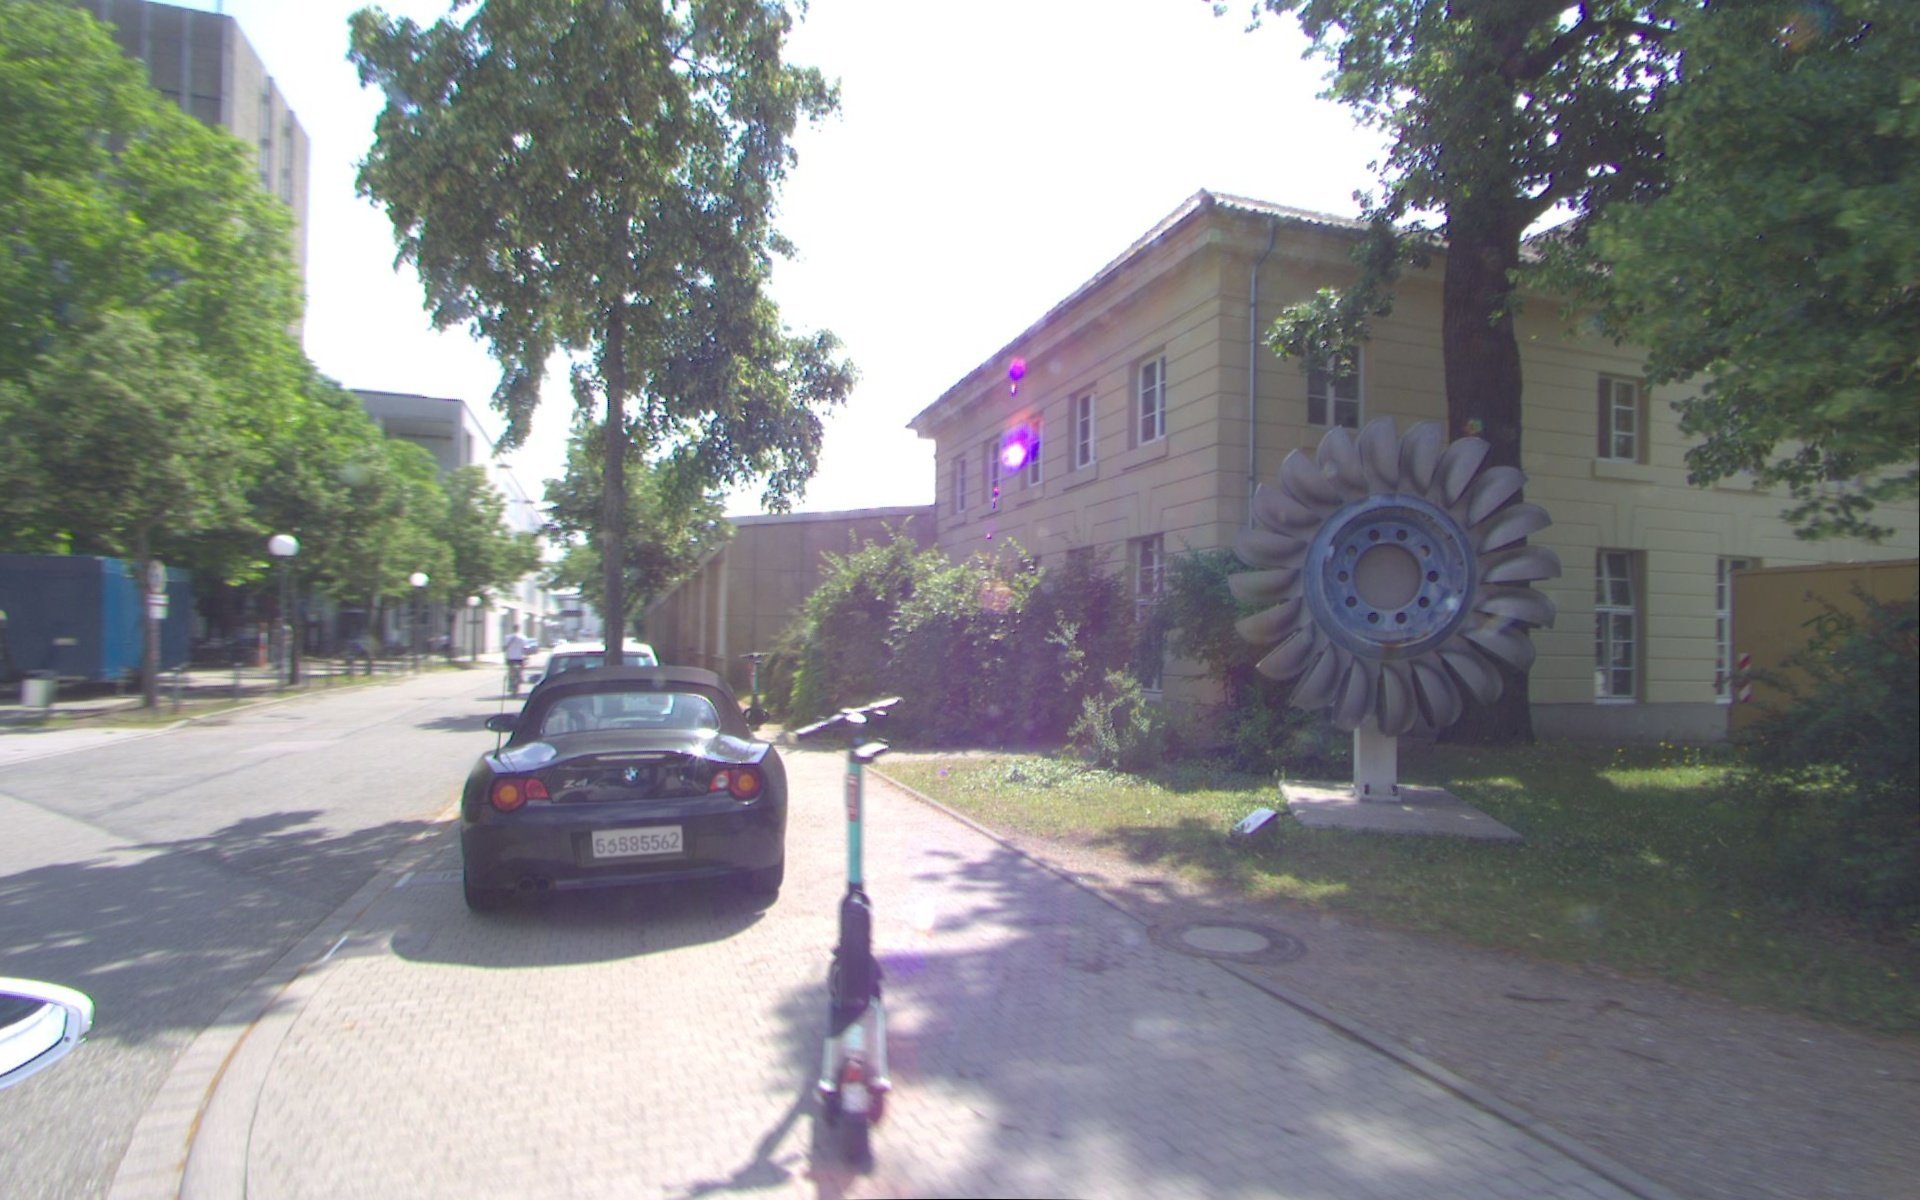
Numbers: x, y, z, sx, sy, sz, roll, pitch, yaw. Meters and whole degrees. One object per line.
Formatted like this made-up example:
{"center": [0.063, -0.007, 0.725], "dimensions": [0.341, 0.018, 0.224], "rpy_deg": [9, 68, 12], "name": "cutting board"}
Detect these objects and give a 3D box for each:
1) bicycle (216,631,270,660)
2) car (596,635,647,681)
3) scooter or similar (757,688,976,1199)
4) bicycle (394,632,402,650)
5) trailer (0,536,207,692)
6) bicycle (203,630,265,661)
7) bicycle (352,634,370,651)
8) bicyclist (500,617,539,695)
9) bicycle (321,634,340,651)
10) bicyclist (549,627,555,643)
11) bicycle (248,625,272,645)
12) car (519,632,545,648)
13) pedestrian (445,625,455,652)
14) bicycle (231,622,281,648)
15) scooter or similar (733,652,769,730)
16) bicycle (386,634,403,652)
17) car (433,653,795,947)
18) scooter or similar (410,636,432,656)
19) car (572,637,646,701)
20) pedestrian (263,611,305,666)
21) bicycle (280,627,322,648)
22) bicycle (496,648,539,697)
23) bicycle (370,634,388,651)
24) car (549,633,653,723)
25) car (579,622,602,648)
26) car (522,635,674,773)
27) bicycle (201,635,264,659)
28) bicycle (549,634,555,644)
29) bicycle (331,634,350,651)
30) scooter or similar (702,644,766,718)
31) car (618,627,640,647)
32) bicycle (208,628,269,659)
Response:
{"center": [-29.519, 1.877, 41.264], "dimensions": [1.758, 1.146, 0.455], "rpy_deg": [3, -2, -37], "name": "bicycle"}
{"center": [-12.744, 2.128, 37.576], "dimensions": [1.681, 1.594, 4.131], "rpy_deg": [0, -2, -20], "name": "car"}
{"center": [-0.357, 0.956, 3.252], "dimensions": [0.544, 1.270, 1.381], "rpy_deg": [1, -2, -10], "name": "scooter or similar"}
{"center": [-34.359, 2.504, 61.219], "dimensions": [0.377, 1.038, 1.805], "rpy_deg": [2, -2, -31], "name": "bicycle"}
{"center": [-19.963, 0.356, 22.691], "dimensions": [2.659, 3.064, 6.254], "rpy_deg": [2, -2, -19], "name": "trailer"}
{"center": [-30.643, 1.922, 42.291], "dimensions": [2.036, 1.250, 0.803], "rpy_deg": [4, -2, -37], "name": "bicycle"}
{"center": [-39.749, 2.841, 66.500], "dimensions": [0.544, 1.100, 1.969], "rpy_deg": [3, -3, -18], "name": "bicycle"}
{"center": [-11.801, 1.494, 26.838], "dimensions": [0.862, 2.039, 0.847], "rpy_deg": [2, -1, -21], "name": "bicyclist"}
{"center": [-41.220, 2.781, 65.567], "dimensions": [0.544, 1.100, 1.969], "rpy_deg": [3, -3, -18], "name": "bicycle"}
{"center": [-51.923, 4.481, 127.530], "dimensions": [0.702, 2.039, 1.016], "rpy_deg": [0, -1, -21], "name": "bicyclist"}
{"center": [-44.653, 2.207, 63.889], "dimensions": [0.518, 1.269, 2.377], "rpy_deg": [1, -2, -18], "name": "bicycle"}
{"center": [-39.935, 3.739, 93.581], "dimensions": [1.741, 1.445, 4.228], "rpy_deg": [2, -3, -17], "name": "car"}
{"center": [-37.966, 2.874, 74.529], "dimensions": [0.656, 1.966, 0.410], "rpy_deg": [0, -2, 42], "name": "pedestrian"}
{"center": [-41.010, 2.033, 58.357], "dimensions": [0.599, 1.468, 2.275], "rpy_deg": [0, -2, 38], "name": "bicycle"}
{"center": [-3.494, 1.497, 16.788], "dimensions": [0.512, 1.237, 1.236], "rpy_deg": [0, -1, -9], "name": "scooter or similar"}
{"center": [-37.669, 2.852, 66.700], "dimensions": [0.544, 1.100, 1.969], "rpy_deg": [3, -3, -18], "name": "bicycle"}
{"center": [-2.278, 1.071, 6.911], "dimensions": [1.684, 1.296, 3.993], "rpy_deg": [1, -2, -18], "name": "car"}
{"center": [-33.323, 2.830, 61.908], "dimensions": [0.334, 1.190, 1.327], "rpy_deg": [1, -2, 16], "name": "scooter or similar"}
{"center": [-9.346, 1.758, 26.562], "dimensions": [1.702, 1.486, 4.661], "rpy_deg": [0, -2, -20], "name": "car"}
{"center": [-25.267, 1.450, 37.448], "dimensions": [0.903, 1.978, 0.892], "rpy_deg": [3, -2, -9], "name": "pedestrian"}
{"center": [-39.551, 2.237, 60.135], "dimensions": [0.580, 1.270, 2.006], "rpy_deg": [0, -1, 39], "name": "bicycle"}
{"center": [-11.803, 1.908, 26.790], "dimensions": [0.870, 1.215, 2.743], "rpy_deg": [2, -2, -21], "name": "bicycle"}
{"center": [-38.617, 2.845, 66.577], "dimensions": [0.544, 1.100, 1.969], "rpy_deg": [3, -3, -18], "name": "bicycle"}
{"center": [-6.639, 1.339, 18.450], "dimensions": [1.624, 1.408, 3.978], "rpy_deg": [0, -1, -21], "name": "car"}
{"center": [-38.709, 3.636, 104.956], "dimensions": [2.055, 2.571, 4.307], "rpy_deg": [2, -2, -19], "name": "car"}
{"center": [-4.706, 1.219, 12.988], "dimensions": [1.566, 1.485, 3.980], "rpy_deg": [1, -2, -21], "name": "car"}
{"center": [-32.116, 2.071, 44.213], "dimensions": [0.670, 1.021, 2.138], "rpy_deg": [0, -2, 41], "name": "bicycle"}
{"center": [-51.910, 4.957, 127.477], "dimensions": [0.676, 1.144, 1.884], "rpy_deg": [1, -2, -21], "name": "bicycle"}
{"center": [-40.713, 2.796, 65.810], "dimensions": [0.544, 1.100, 1.969], "rpy_deg": [3, -3, -18], "name": "bicycle"}
{"center": [-4.206, 1.484, 18.695], "dimensions": [0.586, 1.283, 1.263], "rpy_deg": [1, 0, 18], "name": "scooter or similar"}
{"center": [-26.511, 2.963, 80.107], "dimensions": [1.594, 1.558, 3.773], "rpy_deg": [2, -2, -18], "name": "car"}
{"center": [-30.841, 1.865, 42.828], "dimensions": [2.037, 1.250, 0.803], "rpy_deg": [5, -3, -36], "name": "bicycle"}
